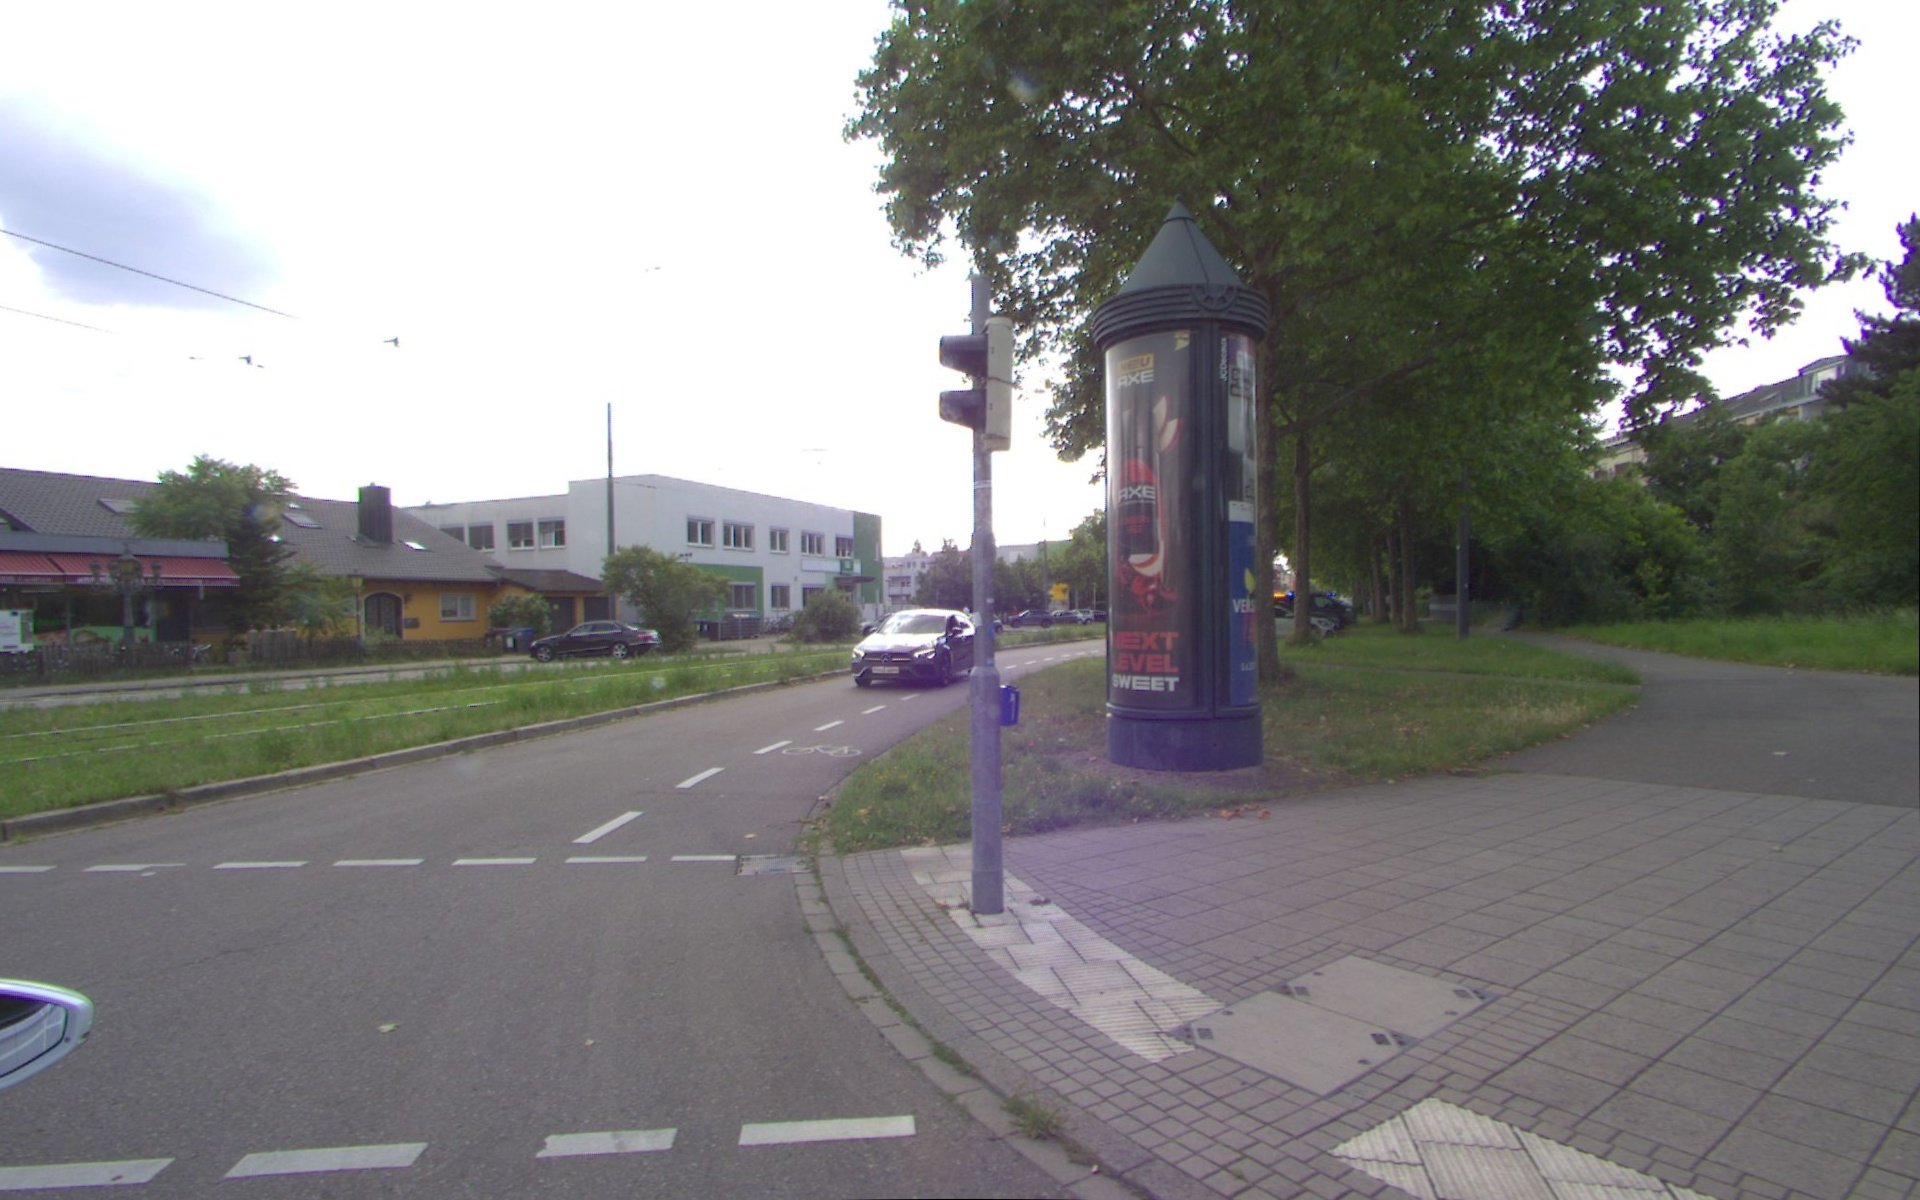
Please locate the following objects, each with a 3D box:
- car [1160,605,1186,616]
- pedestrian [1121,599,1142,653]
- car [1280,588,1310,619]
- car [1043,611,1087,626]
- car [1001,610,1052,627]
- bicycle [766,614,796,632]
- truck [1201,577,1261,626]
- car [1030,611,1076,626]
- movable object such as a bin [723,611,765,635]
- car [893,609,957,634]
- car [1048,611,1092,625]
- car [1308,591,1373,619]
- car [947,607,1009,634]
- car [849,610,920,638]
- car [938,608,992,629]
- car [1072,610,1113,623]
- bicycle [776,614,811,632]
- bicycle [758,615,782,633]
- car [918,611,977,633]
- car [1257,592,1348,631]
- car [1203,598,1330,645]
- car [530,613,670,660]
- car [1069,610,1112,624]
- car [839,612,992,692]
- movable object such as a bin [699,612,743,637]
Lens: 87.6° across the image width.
[{"bbox_3d":[35.924,1.741,168.845,3.925,1.862,1.820,1,0,-9],"label":"car"},{"bbox_3d":[5.459,0.824,31.830,0.577,1.706,0.493,0,0,21],"label":"pedestrian"},{"bbox_3d":[38.302,0.431,114.197,2.923,3.374,7.444,1,0,21],"label":"car"},{"bbox_3d":[10.414,1.819,99.532,4.231,1.382,1.902,-1,0,0],"label":"car"},{"bbox_3d":[5.741,1.623,86.775,4.231,1.382,1.902,-1,0,-2],"label":"car"},{"bbox_3d":[-11.458,1.473,64.027,1.766,1.096,0.735,-1,0,20],"label":"bicycle"},{"bbox_3d":[19.705,0.141,72.535,3.140,3.361,7.502,-1,0,23],"label":"truck"},{"bbox_3d":[8.964,1.768,96.547,4.231,1.382,1.902,-1,0,0],"label":"car"},{"bbox_3d":[-12.520,1.348,58.127,1.354,1.344,2.124,-1,0,26],"label":"movable object such as a bin"},{"bbox_3d":[-2.409,1.463,67.896,4.232,1.650,1.901,0,0,-6],"label":"car"},{"bbox_3d":[11.173,1.854,102.014,4.231,1.382,1.902,-1,0,0],"label":"car"},{"bbox_3d":[47.480,0.635,125.104,7.324,3.374,2.971,1,0,17],"label":"car"},{"bbox_3d":[1.205,1.301,64.874,1.877,1.650,4.287,0,0,36],"label":"car"},{"bbox_3d":[-4.730,1.473,62.304,4.234,1.651,1.900,-1,0,-11],"label":"car"},{"bbox_3d":[0.364,1.412,76.657,4.089,1.523,1.861,0,0,0],"label":"car"},{"bbox_3d":[14.539,1.833,109.842,4.231,1.382,1.902,-1,0,0],"label":"car"},{"bbox_3d":[-11.237,1.570,67.630,2.315,1.181,0.757,-1,0,28],"label":"bicycle"},{"bbox_3d":[-12.426,1.560,65.484,1.601,1.181,0.700,-1,0,39],"label":"bicycle"},{"bbox_3d":[-0.901,1.535,70.618,4.090,1.523,1.860,0,0,-5],"label":"car"},{"bbox_3d":[18.484,0.645,54.016,4.481,2.040,1.995,-1,-1,23],"label":"car"},{"bbox_3d":[11.623,0.842,37.931,4.464,1.665,1.996,-1,-1,20],"label":"car"},{"bbox_3d":[-13.500,1.349,37.685,4.491,1.601,2.000,-2,0,2],"label":"car"},{"bbox_3d":[13.697,1.780,105.227,4.231,1.382,1.902,-1,0,0],"label":"car"},{"bbox_3d":[-0.757,0.972,20.486,1.807,1.411,4.600,0,0,15],"label":"car"},{"bbox_3d":[-13.398,1.343,56.128,1.354,1.344,2.109,-1,0,26],"label":"movable object such as a bin"}]
